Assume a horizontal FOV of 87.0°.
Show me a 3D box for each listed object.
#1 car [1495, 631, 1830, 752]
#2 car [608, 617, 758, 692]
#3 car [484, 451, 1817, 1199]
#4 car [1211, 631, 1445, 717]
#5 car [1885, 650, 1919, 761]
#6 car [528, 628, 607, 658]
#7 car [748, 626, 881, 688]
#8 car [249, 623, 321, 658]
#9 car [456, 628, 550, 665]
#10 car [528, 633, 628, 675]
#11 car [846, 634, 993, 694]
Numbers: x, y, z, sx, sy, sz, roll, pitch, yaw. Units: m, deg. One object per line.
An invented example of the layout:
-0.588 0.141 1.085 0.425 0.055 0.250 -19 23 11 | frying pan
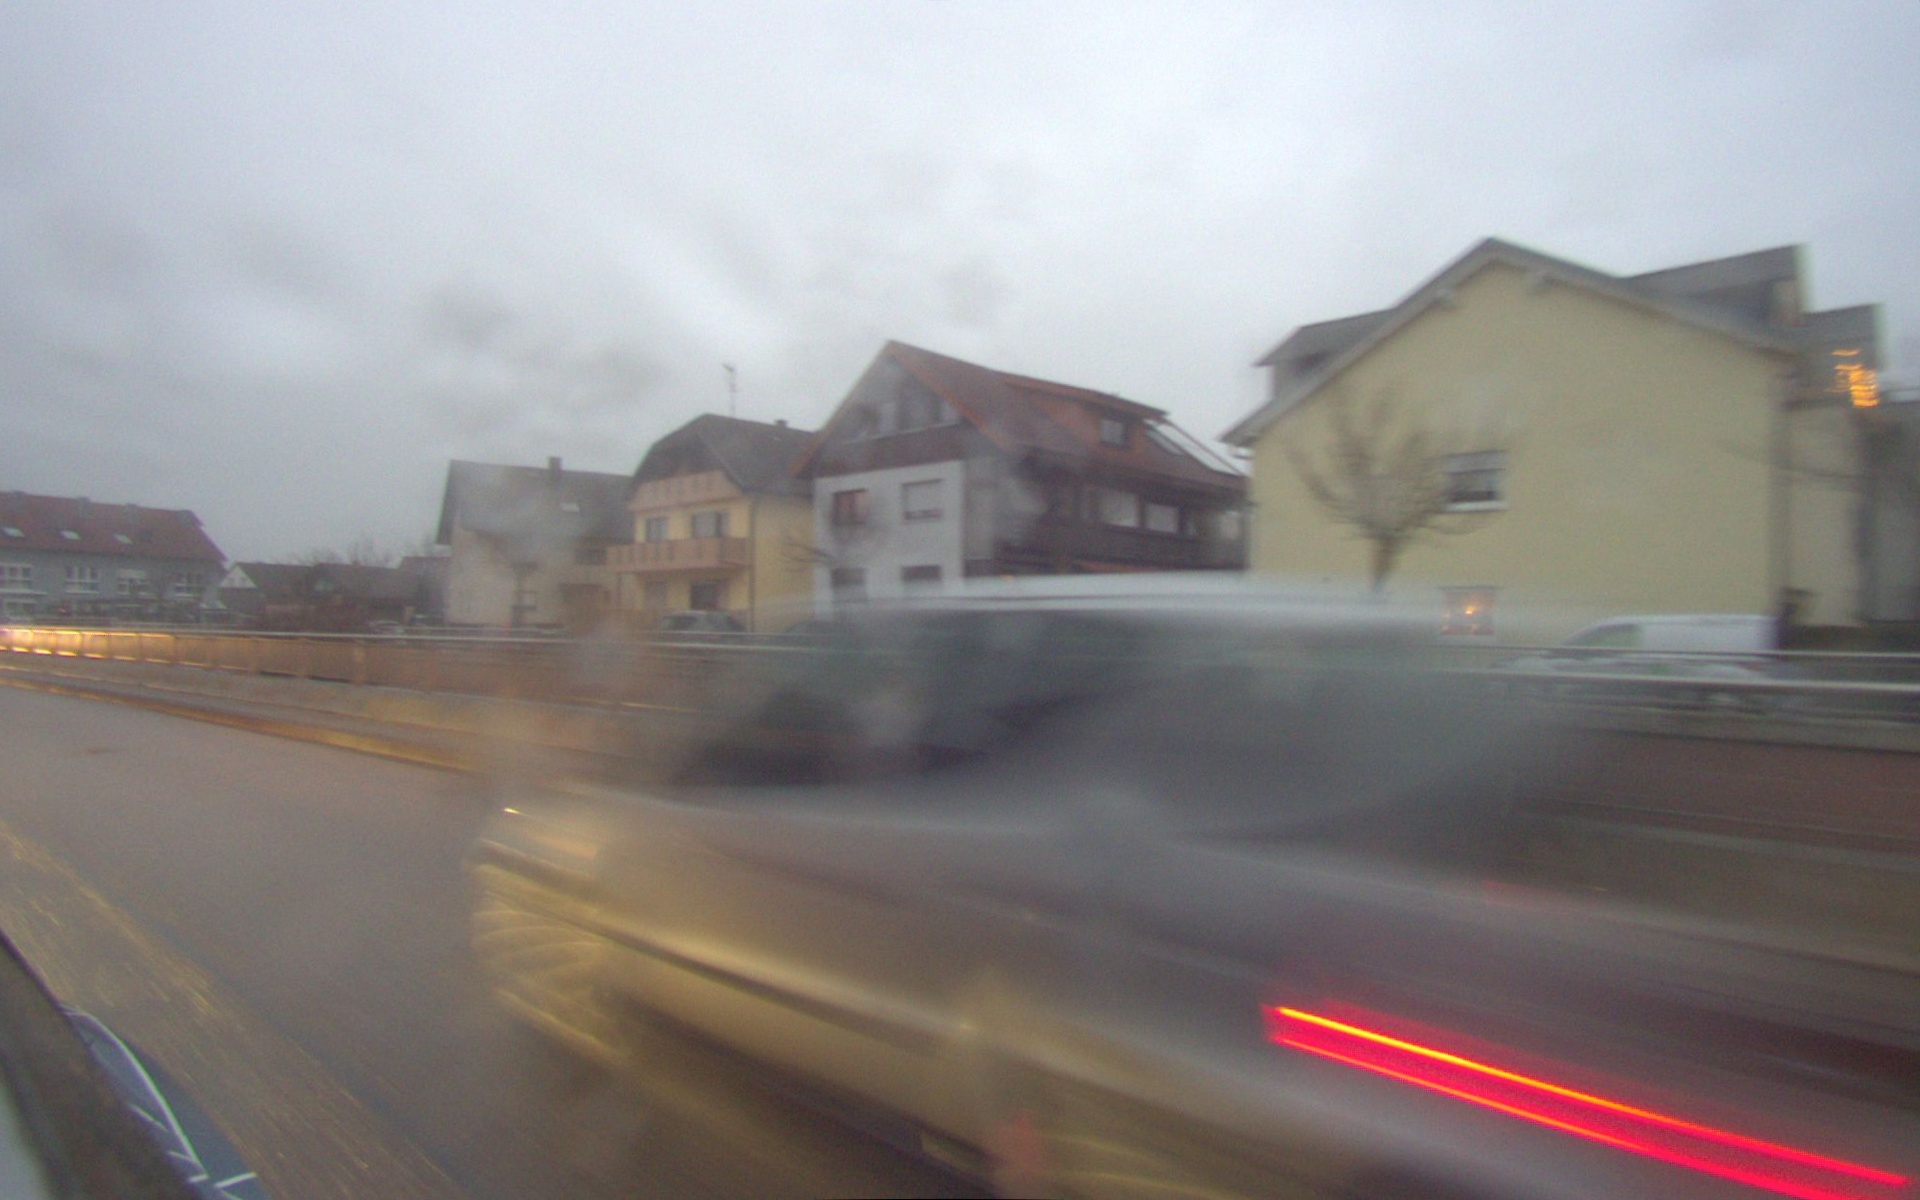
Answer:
11.838 1.480 17.265 4.499 1.792 1.854 -2 -5 41 | car
-7.313 1.384 26.605 3.853 1.817 1.783 0 -2 36 | car
0.224 0.688 3.044 3.547 1.648 1.646 -2 -2 40 | car
7.609 1.506 21.165 4.223 1.611 1.854 -2 -5 41 | car
15.711 1.503 13.815 4.501 1.585 1.853 -2 -5 43 | car
-22.773 2.448 58.703 3.973 1.535 1.818 -1 0 -34 | car
-4.527 1.699 31.171 3.996 1.694 1.840 -1 0 40 | car
-39.632 2.339 59.406 4.345 1.919 1.978 -1 0 33 | car
-19.387 1.924 42.839 4.645 1.453 1.857 -1 -2 41 | car
-14.961 2.053 39.542 4.140 1.517 1.858 -1 -2 40 | car
-1.188 1.758 28.720 4.028 1.535 1.751 -1 -2 40 | car
